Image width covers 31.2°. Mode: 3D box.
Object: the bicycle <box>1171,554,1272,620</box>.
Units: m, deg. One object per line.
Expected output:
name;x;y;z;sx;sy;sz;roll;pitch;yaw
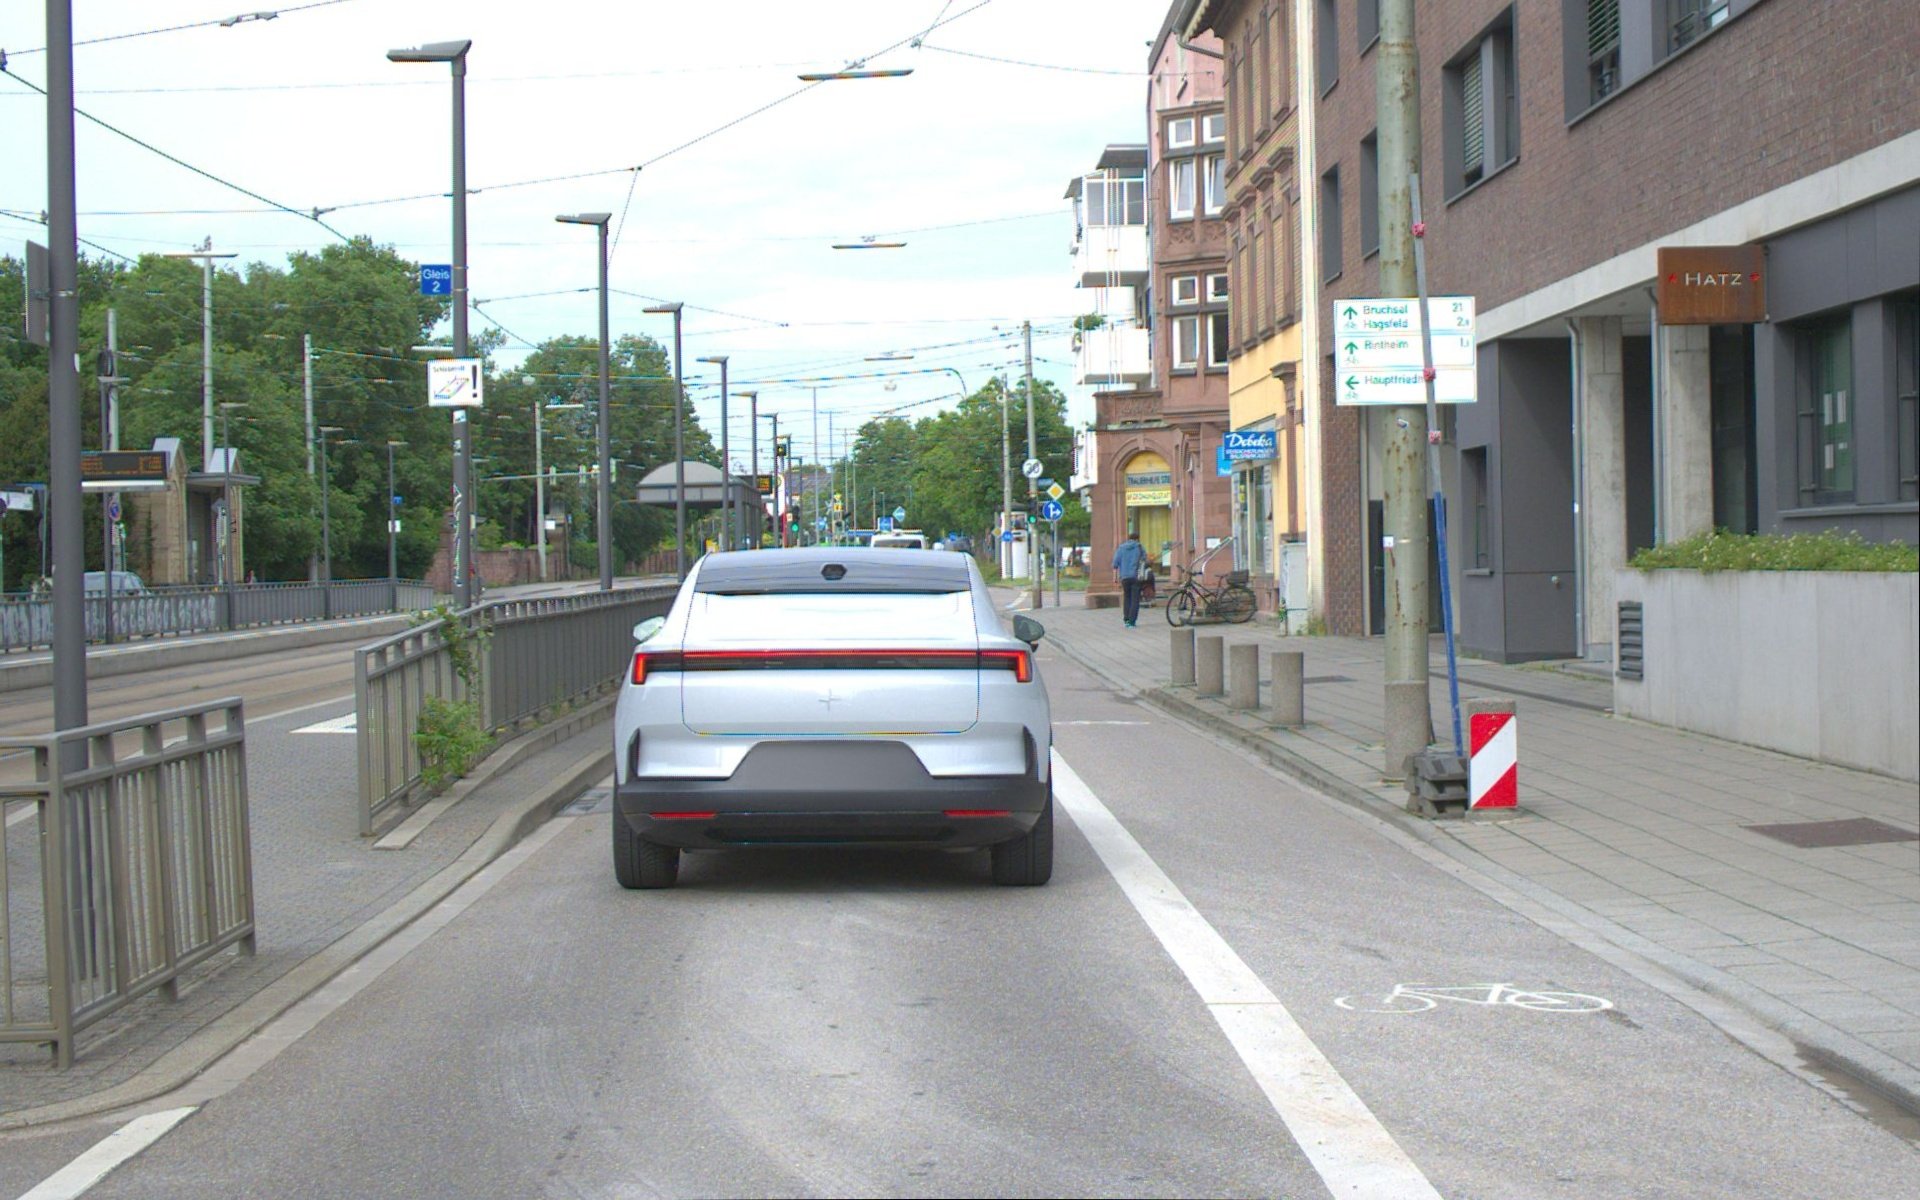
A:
bicycle;4.943;-0.245;65.033;1.777;1.126;0.642;-4;1;-1

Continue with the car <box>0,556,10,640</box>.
car;-17.743;0.046;58.845;1.864;1.481;4.000;-4;1;-2

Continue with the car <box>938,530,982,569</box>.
car;-0.012;-3.276;224.482;2.807;2.496;5.723;0;0;-1

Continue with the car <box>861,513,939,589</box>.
car;-1.958;-1.571;110.740;2.225;2.394;5.124;0;0;-4

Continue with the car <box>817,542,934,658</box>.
car;-1.247;-0.016;51.595;1.681;1.682;3.824;0;0;-1

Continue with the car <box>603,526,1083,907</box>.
car;-0.666;0.470;16.291;1.999;1.575;4.001;0;0;-5

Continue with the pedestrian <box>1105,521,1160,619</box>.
pedestrian;3.389;-0.597;67.455;0.961;1.843;0.975;-3;1;5
